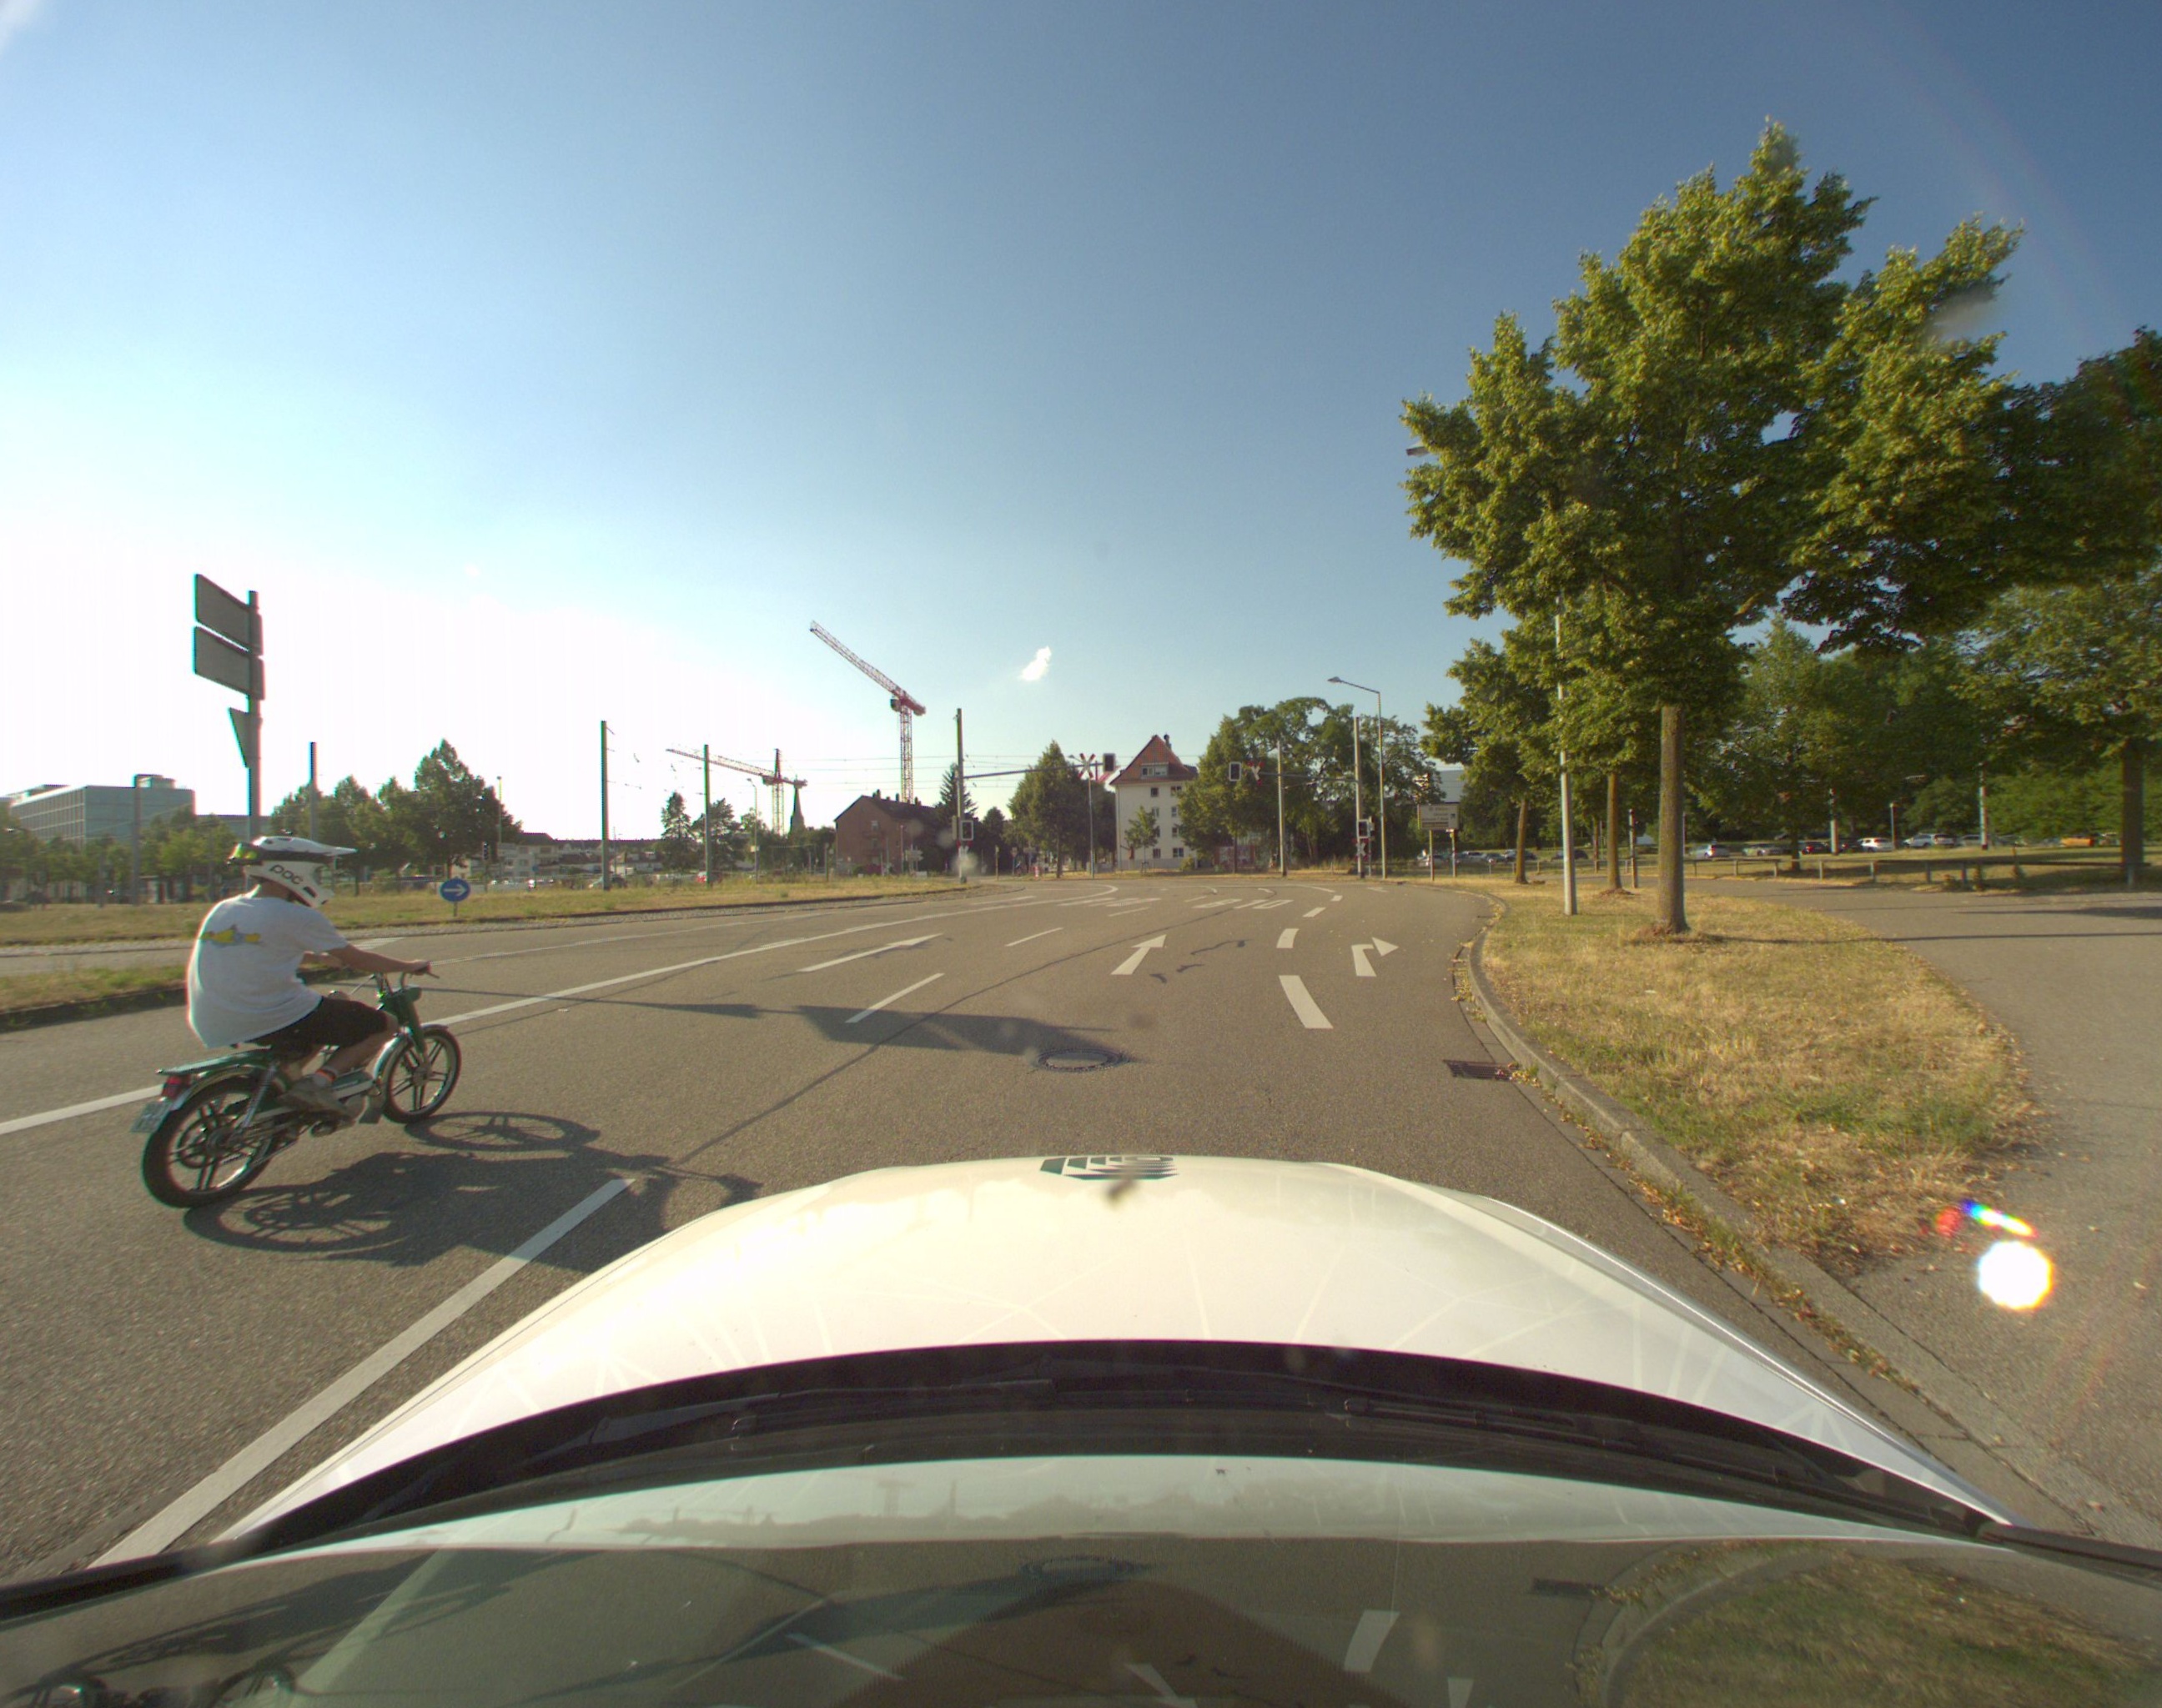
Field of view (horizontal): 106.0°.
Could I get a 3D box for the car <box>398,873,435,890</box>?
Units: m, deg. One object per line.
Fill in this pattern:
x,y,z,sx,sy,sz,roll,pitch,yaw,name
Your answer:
-88.440,3.640,108.365,3.954,2.013,2.010,-2,0,20,car

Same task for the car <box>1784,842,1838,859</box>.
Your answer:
65.951,-0.267,73.665,1.810,1.403,4.011,-2,-1,10,car

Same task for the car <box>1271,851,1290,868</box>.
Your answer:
19.905,0.532,81.092,1.758,1.618,3.984,-2,-1,14,car

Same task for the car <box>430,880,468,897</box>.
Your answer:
-80.766,4.385,104.061,3.954,2.013,2.010,-2,0,20,car

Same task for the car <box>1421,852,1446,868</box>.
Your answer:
34.315,0.579,79.320,1.589,1.402,3.984,-2,-1,14,car

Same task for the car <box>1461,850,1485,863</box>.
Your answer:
43.134,0.288,89.573,1.589,1.402,3.984,-2,-1,14,car

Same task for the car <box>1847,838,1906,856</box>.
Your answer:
71.028,-0.606,72.777,1.810,1.403,4.011,-2,-1,10,car

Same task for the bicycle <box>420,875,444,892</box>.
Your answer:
-56.888,2.572,71.414,1.551,1.473,0.474,-1,-1,-35,bicycle

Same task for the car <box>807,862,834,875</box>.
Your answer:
-42.431,2.419,132.732,3.791,2.014,1.674,-2,-1,4,car

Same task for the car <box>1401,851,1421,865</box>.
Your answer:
36.960,0.465,91.238,1.589,1.402,3.984,-2,-1,14,car

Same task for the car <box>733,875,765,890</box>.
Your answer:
-47.081,4.026,115.410,3.791,2.014,1.674,-2,-1,4,car

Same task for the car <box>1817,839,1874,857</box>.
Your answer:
68.480,-0.523,73.018,1.810,1.403,4.011,-2,-1,10,car

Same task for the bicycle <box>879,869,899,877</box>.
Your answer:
-19.833,1.962,84.264,1.994,0.825,0.427,-2,0,-20,bicycle

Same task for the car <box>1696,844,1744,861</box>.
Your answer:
58.769,-0.135,74.960,1.810,1.403,4.011,-2,-1,10,car

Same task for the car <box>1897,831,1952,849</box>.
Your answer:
85.110,-1.396,82.254,1.810,1.672,4.011,-2,-1,10,car

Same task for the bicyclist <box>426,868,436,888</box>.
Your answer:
-56.953,2.115,71.389,0.611,1.672,0.473,-1,-2,-34,bicyclist

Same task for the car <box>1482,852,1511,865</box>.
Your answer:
39.945,0.430,78.340,1.589,1.221,3.984,-2,-1,14,car

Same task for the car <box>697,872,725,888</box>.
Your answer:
-45.224,3.139,99.447,1.936,1.854,3.951,-1,-1,-44,car

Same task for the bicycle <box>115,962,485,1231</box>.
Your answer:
-3.904,1.119,4.297,0.478,0.876,1.848,-1,-1,-11,bicycle

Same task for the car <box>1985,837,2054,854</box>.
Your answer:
81.959,-0.728,71.209,1.810,1.403,4.011,-2,-1,10,car

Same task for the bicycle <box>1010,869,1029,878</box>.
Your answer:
-6.702,2.157,88.895,1.994,0.918,0.427,-2,0,-20,bicycle

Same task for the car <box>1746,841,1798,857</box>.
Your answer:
63.308,-0.448,74.694,1.810,1.403,4.011,-2,-1,10,car

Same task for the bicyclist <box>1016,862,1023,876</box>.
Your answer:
-6.710,1.669,88.897,0.624,1.511,0.416,-2,-1,-20,bicyclist

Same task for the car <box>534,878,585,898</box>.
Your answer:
-53.658,3.452,83.783,1.975,1.816,4.024,-2,0,44,car

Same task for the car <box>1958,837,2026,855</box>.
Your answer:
79.465,-0.693,71.121,1.810,1.403,4.011,-2,-1,10,car

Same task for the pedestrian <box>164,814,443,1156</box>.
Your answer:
-3.868,0.584,4.138,0.657,1.519,0.850,-2,-1,-14,pedestrian

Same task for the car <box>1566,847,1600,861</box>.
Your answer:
47.071,0.017,76.470,1.589,1.310,3.984,-2,-1,14,car
